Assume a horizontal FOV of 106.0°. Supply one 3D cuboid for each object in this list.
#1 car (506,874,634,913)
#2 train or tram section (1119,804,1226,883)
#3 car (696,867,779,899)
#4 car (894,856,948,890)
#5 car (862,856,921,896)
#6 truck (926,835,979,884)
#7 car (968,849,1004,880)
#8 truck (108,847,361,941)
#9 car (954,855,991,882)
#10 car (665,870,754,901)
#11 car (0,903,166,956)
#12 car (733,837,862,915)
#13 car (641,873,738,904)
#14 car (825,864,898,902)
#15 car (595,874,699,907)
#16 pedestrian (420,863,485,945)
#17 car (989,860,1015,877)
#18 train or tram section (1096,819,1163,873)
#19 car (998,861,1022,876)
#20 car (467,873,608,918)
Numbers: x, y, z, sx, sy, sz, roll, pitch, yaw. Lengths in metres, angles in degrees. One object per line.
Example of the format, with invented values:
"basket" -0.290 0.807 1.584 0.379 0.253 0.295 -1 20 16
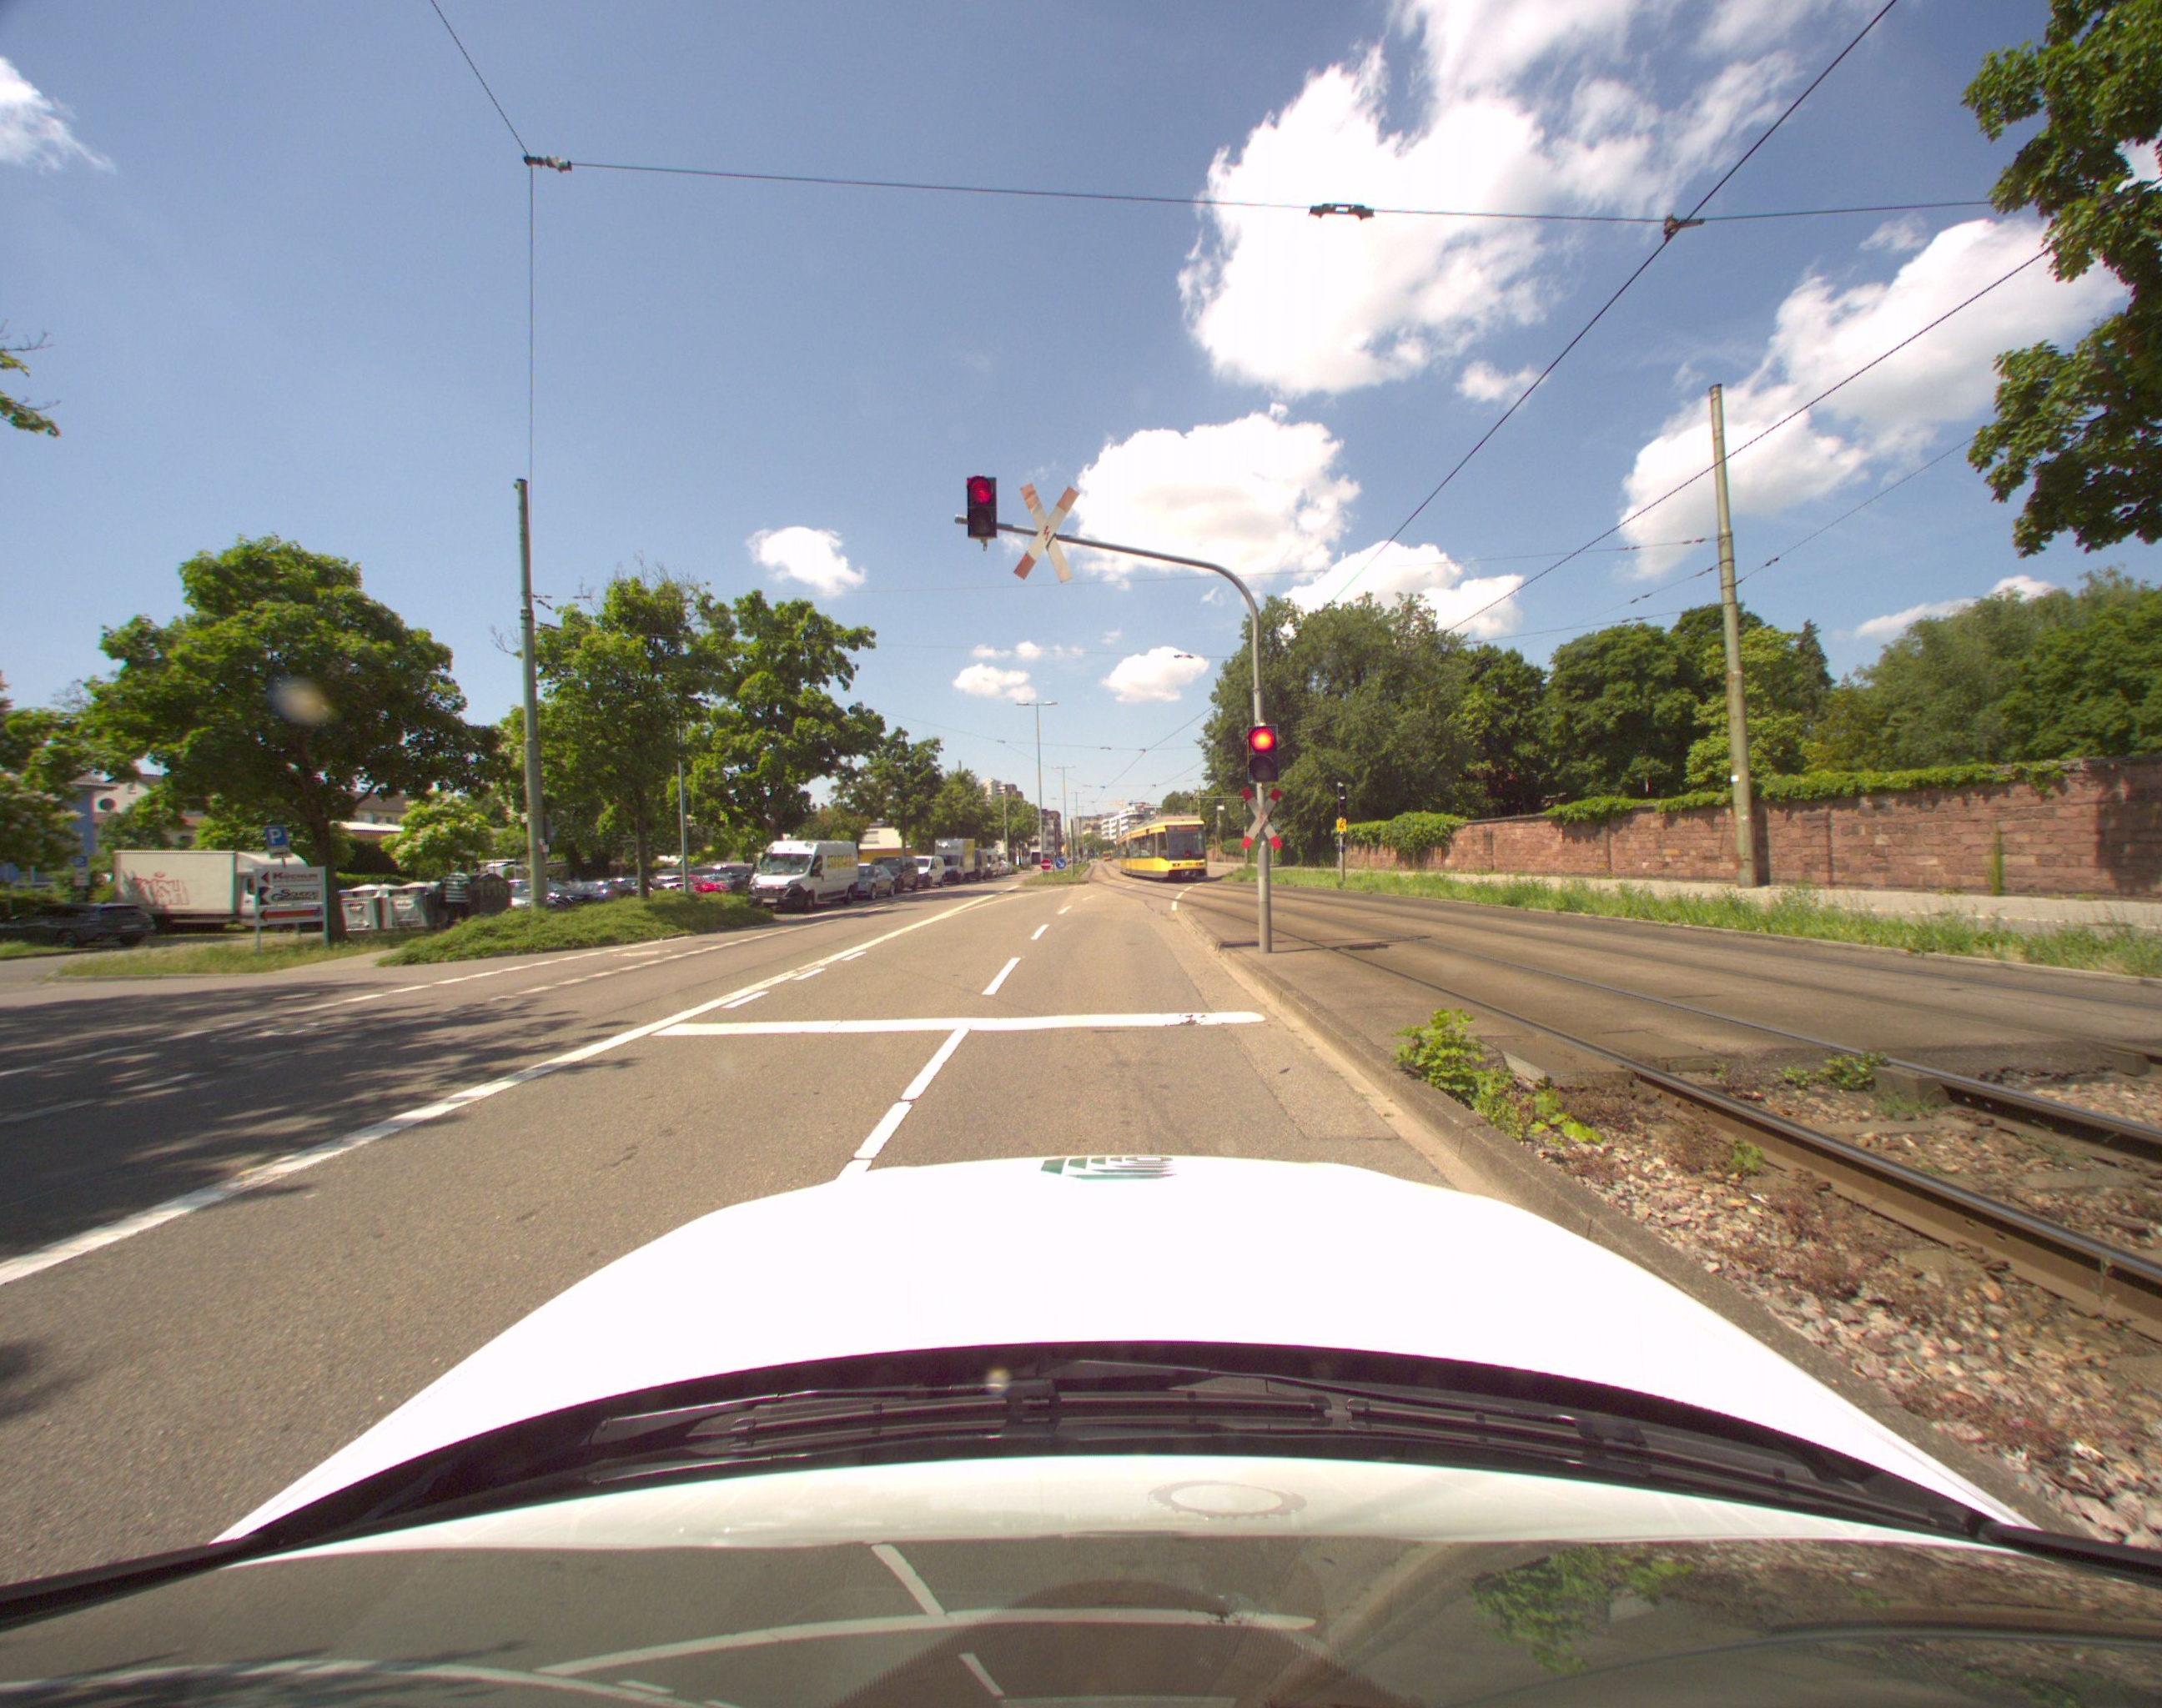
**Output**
"car" -20.645 1.584 33.033 3.974 1.339 1.805 -2 0 0
"train or tram section" 4.771 -0.500 47.742 2.938 3.692 18.362 -1 0 -4
"car" -19.793 1.668 47.043 3.974 1.606 1.805 -2 0 0
"car" -9.598 1.088 49.318 2.053 1.898 4.873 -2 0 2
"car" -9.759 1.086 42.358 1.861 1.895 4.272 -2 0 2
"truck" -9.016 0.376 57.890 2.147 3.210 7.089 1 0 4
"car" -8.467 0.892 73.066 2.147 2.639 5.617 1 0 4
"truck" -32.923 1.491 31.849 7.166 3.228 2.331 -2 0 -2
"car" -8.617 1.156 65.274 2.053 1.977 4.873 -2 0 2
"car" -20.148 1.700 44.276 3.974 1.442 1.805 -3 0 0
"car" -32.265 2.405 26.011 3.975 1.399 1.772 -3 0 -1
"car" -10.073 0.701 29.606 2.147 2.487 6.199 1 0 4
"car" -20.000 1.735 41.712 3.974 1.339 1.805 -2 0 0
"car" -9.640 1.235 36.064 1.861 1.437 4.344 -2 0 2
"car" -20.790 1.722 39.135 3.974 1.339 1.805 -2 0 0
"pedestrian" -14.743 1.148 19.142 0.979 1.823 0.788 -2 0 -23
"car" -8.418 1.548 87.042 2.053 1.582 4.873 -2 0 2
"train or tram section" 3.592 -0.548 67.010 2.937 3.692 20.256 -1 0 -4
"car" -8.182 1.606 94.144 2.053 1.582 4.873 -2 0 2
"car" -20.349 1.534 30.604 3.974 1.442 1.805 -2 0 0
